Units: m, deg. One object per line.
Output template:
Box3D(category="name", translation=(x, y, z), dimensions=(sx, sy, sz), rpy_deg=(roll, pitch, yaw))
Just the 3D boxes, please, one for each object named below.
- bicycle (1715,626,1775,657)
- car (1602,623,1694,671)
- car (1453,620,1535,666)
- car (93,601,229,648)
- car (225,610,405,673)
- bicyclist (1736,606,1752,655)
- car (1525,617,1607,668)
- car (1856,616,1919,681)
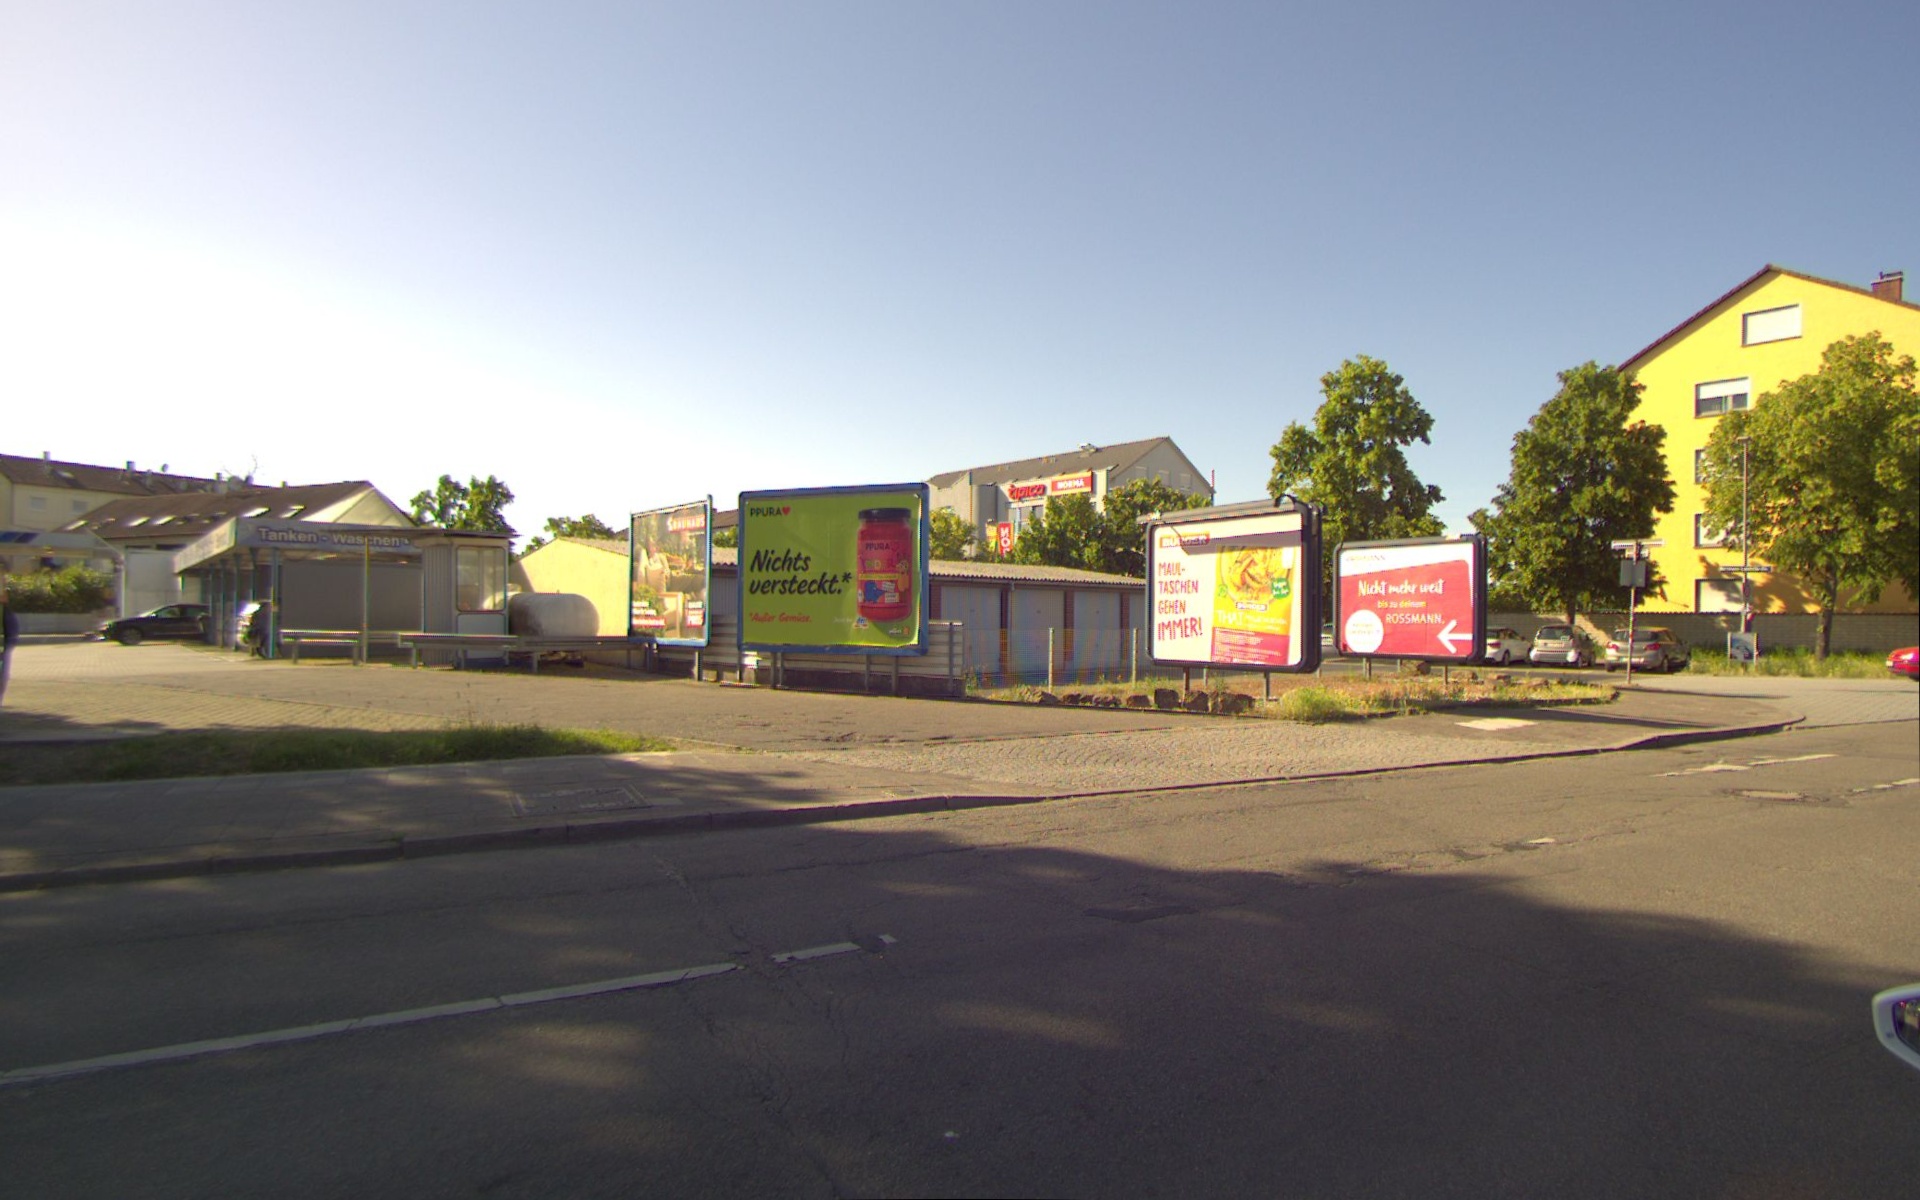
Box3D(category="bicycle", translation=(27.254, 1.427, 34.906), dimensions=(1.593, 1.024, 0.405), rpy_deg=(0, -1, 30))
Box3D(category="car", translation=(23.128, 1.533, 33.733), dimensions=(3.852, 1.483, 1.713), rpy_deg=(0, -1, -42))
Box3D(category="car", translation=(20.174, 1.575, 37.895), dimensions=(3.855, 1.484, 1.681), rpy_deg=(-2, 1, -45))
Box3D(category="car", translation=(-31.649, 1.008, 39.860), dimensions=(4.054, 1.694, 1.566), rpy_deg=(4, -3, -43))
Box3D(category="car", translation=(-18.215, 1.198, 28.468), dimensions=(3.972, 1.628, 1.975), rpy_deg=(4, -3, -43))
Box3D(category="bicyclist", translation=(27.270, 1.064, 34.922), dimensions=(0.382, 1.708, 0.381), rpy_deg=(1, -2, 30))
Box3D(category="car", translation=(22.134, 1.500, 36.644), dimensions=(3.855, 1.643, 1.681), rpy_deg=(-2, 1, -45))
Box3D(category="car", translation=(25.824, 1.244, 25.405), dimensions=(4.311, 1.589, 2.016), rpy_deg=(1, 1, 26))
